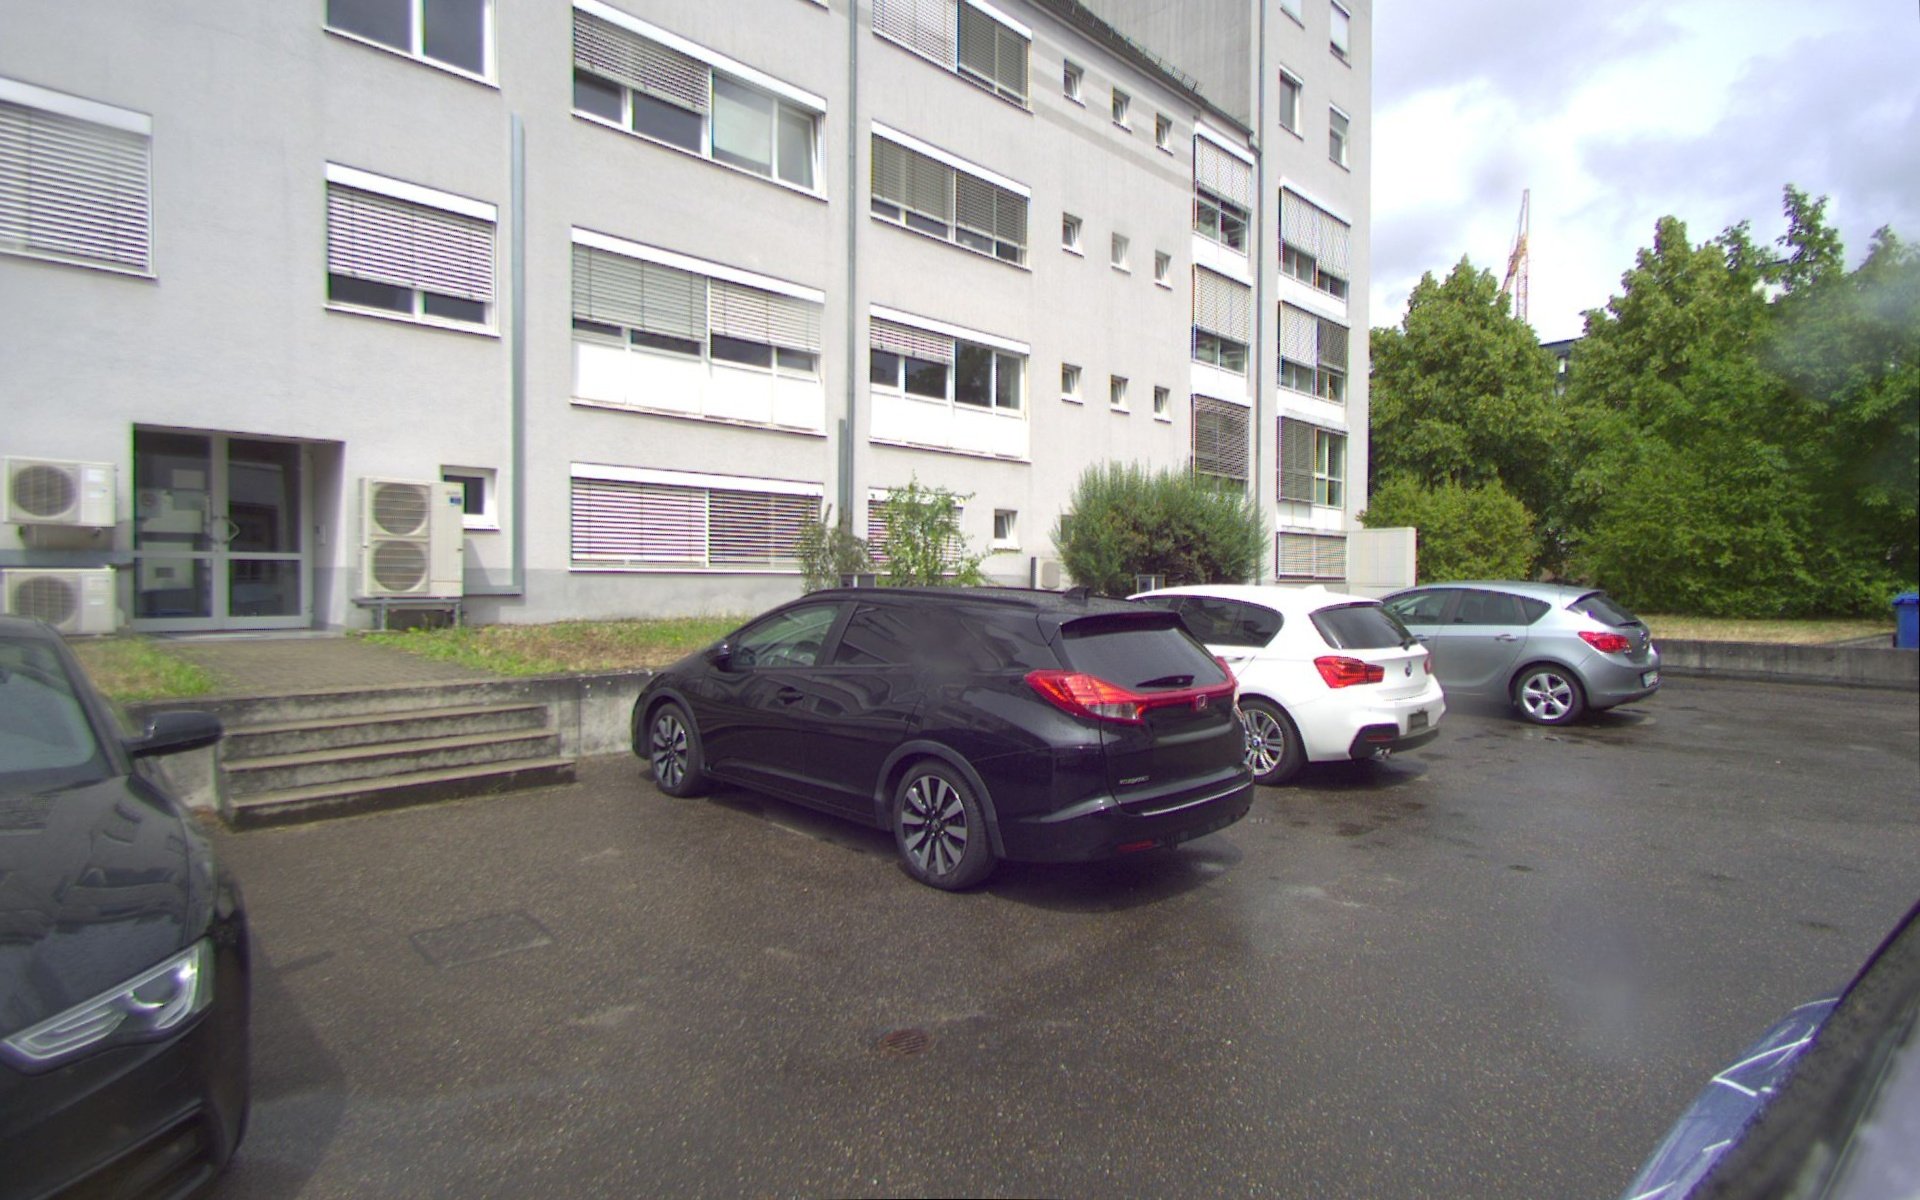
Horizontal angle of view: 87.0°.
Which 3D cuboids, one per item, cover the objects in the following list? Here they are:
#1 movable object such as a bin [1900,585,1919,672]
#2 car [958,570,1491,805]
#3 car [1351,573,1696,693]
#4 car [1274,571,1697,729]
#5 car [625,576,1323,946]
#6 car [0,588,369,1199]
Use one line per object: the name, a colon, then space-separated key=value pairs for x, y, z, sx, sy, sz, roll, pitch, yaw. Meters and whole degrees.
movable object such as a bin: x=15.336 y=0.449 z=15.492 sx=1.036 sy=1.334 sz=1.232 roll=1 pitch=1 yaw=-39
car: x=2.026 y=0.509 z=8.677 sx=1.802 sy=1.473 sz=4.104 roll=-1 pitch=3 yaw=-42
car: x=8.030 y=0.364 z=14.727 sx=1.759 sy=1.371 sz=3.998 roll=-1 pitch=3 yaw=-39
car: x=5.942 y=0.425 z=11.834 sx=1.640 sy=1.476 sz=4.086 roll=-2 pitch=3 yaw=-42
car: x=-0.192 y=0.599 z=6.229 sx=1.908 sy=1.418 sz=4.173 roll=-2 pitch=3 yaw=-45
car: x=-3.413 y=0.686 z=3.022 sx=1.830 sy=1.365 sz=4.356 roll=0 pitch=2 yaw=-45
